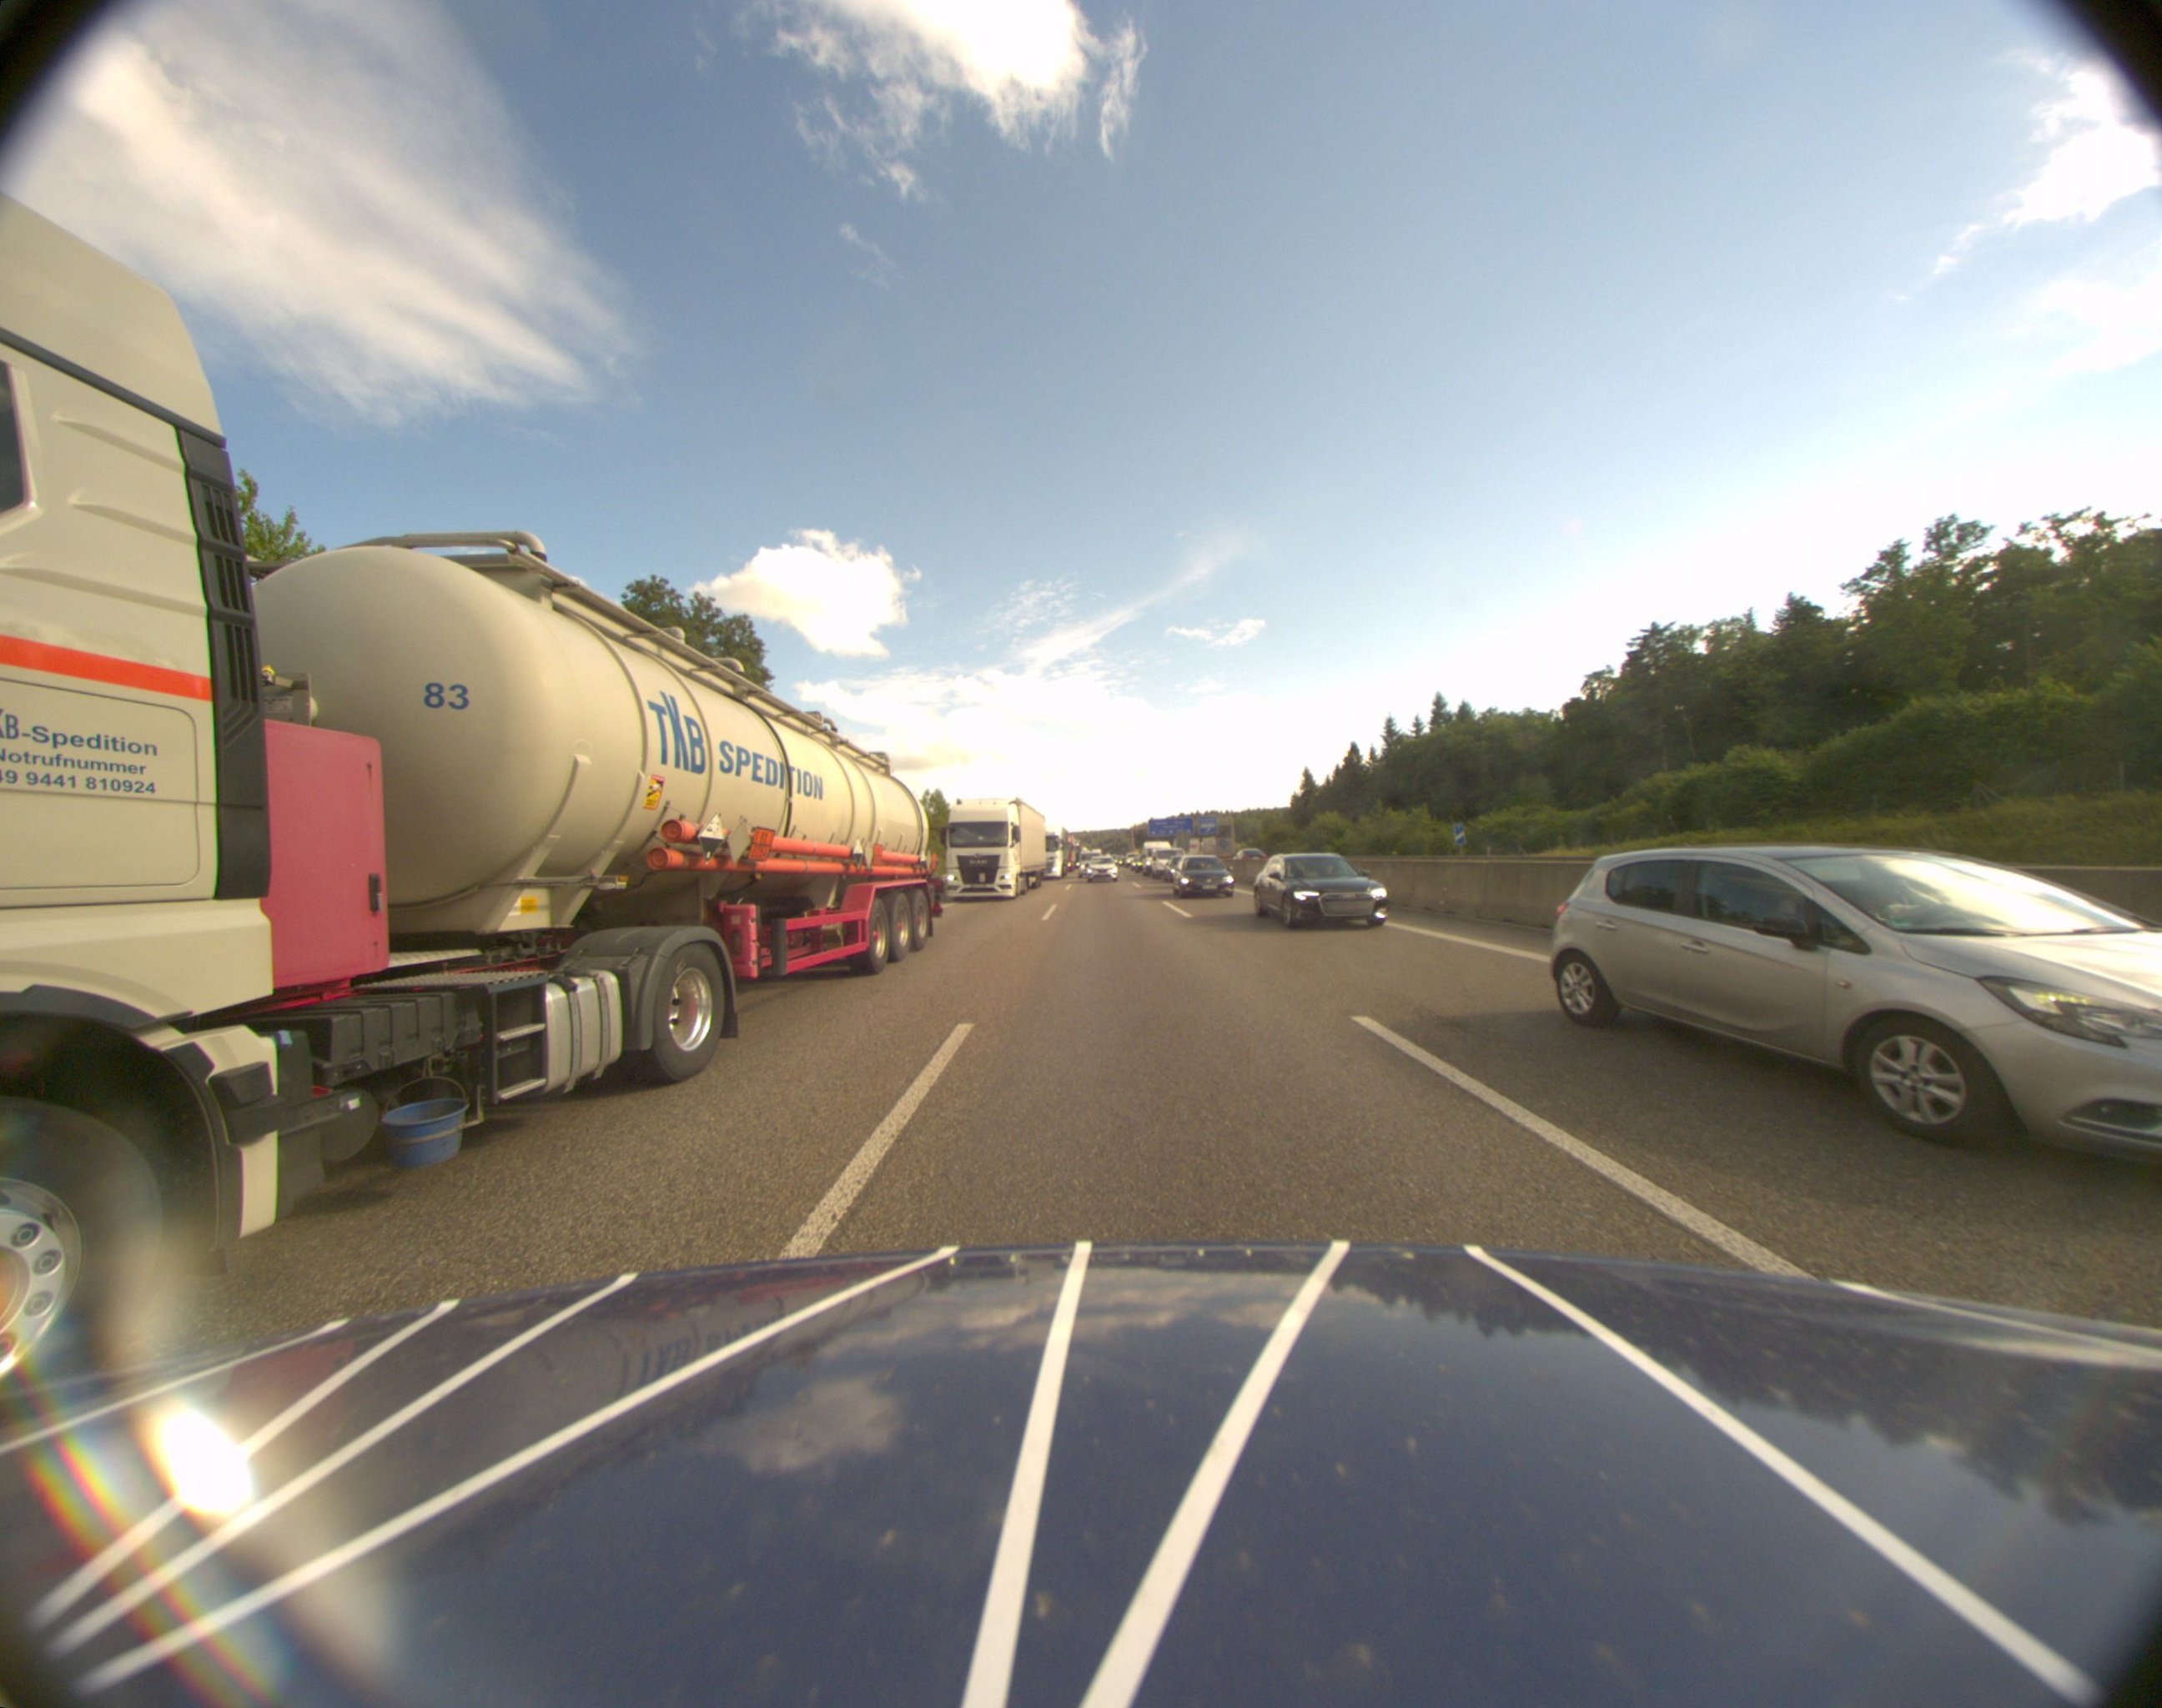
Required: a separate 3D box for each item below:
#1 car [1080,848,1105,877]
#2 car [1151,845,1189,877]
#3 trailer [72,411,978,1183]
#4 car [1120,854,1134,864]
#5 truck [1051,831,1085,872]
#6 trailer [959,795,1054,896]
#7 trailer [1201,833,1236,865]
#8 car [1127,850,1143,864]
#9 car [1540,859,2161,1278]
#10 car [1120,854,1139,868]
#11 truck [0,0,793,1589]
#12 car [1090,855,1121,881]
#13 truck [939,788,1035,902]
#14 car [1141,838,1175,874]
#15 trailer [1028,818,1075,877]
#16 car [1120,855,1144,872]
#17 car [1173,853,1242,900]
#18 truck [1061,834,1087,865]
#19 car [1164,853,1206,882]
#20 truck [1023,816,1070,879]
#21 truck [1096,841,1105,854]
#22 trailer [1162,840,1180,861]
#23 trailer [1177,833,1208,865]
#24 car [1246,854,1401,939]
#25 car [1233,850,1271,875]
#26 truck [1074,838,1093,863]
[{"bbox_3d":[0.887,0.593,57.678,1.809,2.052,4.770,-2,0,1],"label":"car"},{"bbox_3d":[5.721,0.423,49.189,1.947,1.953,4.848,-2,0,1],"label":"car"},{"bbox_3d":[-3.713,-0.297,9.614,2.805,4.003,11.182,-2,0,2],"label":"trailer"},{"bbox_3d":[6.936,0.746,114.879,1.920,1.535,3.811,-2,0,1],"label":"car"},{"bbox_3d":[-1.311,-0.316,84.757,2.840,4.178,12.045,-2,1,3],"label":"truck"},{"bbox_3d":[-3.302,-0.381,37.906,2.832,4.047,13.372,-2,0,2],"label":"trailer"},{"bbox_3d":[21.967,-0.880,122.476,2.934,4.802,14.652,-2,1,1],"label":"trailer"},{"bbox_3d":[7.123,0.386,100.107,1.920,1.785,3.811,-2,0,1],"label":"car"},{"bbox_3d":[4.799,0.789,4.499,1.751,1.457,4.041,-1,0,1],"label":"car"},{"bbox_3d":[5.117,0.739,80.241,1.809,1.423,3.660,-2,0,1],"label":"car"},{"bbox_3d":[-3.930,-0.262,3.305,2.809,4.020,5.904,-2,0,2],"label":"truck"},{"bbox_3d":[1.508,0.807,47.041,1.809,1.487,4.666,-1,0,1],"label":"car"},{"bbox_3d":[-3.570,-0.327,30.269,2.841,4.048,5.708,-2,0,2],"label":"truck"},{"bbox_3d":[5.768,0.135,57.416,2.054,2.557,5.861,-1,0,1],"label":"car"},{"bbox_3d":[-2.184,-0.484,62.064,2.841,4.177,13.614,-2,0,2],"label":"trailer"},{"bbox_3d":[4.447,0.813,66.684,1.809,1.423,3.660,-2,0,1],"label":"car"},{"bbox_3d":[4.429,0.744,27.207,1.915,1.469,4.569,-1,0,3],"label":"car"},{"bbox_3d":[-0.845,-0.687,108.863,2.840,4.178,12.045,-2,1,3],"label":"truck"},{"bbox_3d":[5.726,0.709,42.214,1.809,1.423,3.994,-2,0,1],"label":"car"},{"bbox_3d":[-2.395,-0.450,54.806,2.841,4.177,5.708,-2,0,2],"label":"truck"},{"bbox_3d":[6.514,-2.279,252.551,2.840,4.178,12.045,-2,1,3],"label":"truck"},{"bbox_3d":[23.694,-0.964,199.970,3.050,5.250,13.833,-2,1,1],"label":"trailer"},{"bbox_3d":[18.388,-0.875,126.265,3.096,5.044,13.833,-2,1,0],"label":"trailer"},{"bbox_3d":[4.952,0.784,16.286,1.887,1.463,4.852,-2,0,2],"label":"car"},{"bbox_3d":[13.165,0.610,58.769,1.857,1.799,4.624,-2,0,1],"label":"car"},{"bbox_3d":[0.519,-0.725,137.163,2.840,4.178,12.045,-2,1,3],"label":"truck"}]
